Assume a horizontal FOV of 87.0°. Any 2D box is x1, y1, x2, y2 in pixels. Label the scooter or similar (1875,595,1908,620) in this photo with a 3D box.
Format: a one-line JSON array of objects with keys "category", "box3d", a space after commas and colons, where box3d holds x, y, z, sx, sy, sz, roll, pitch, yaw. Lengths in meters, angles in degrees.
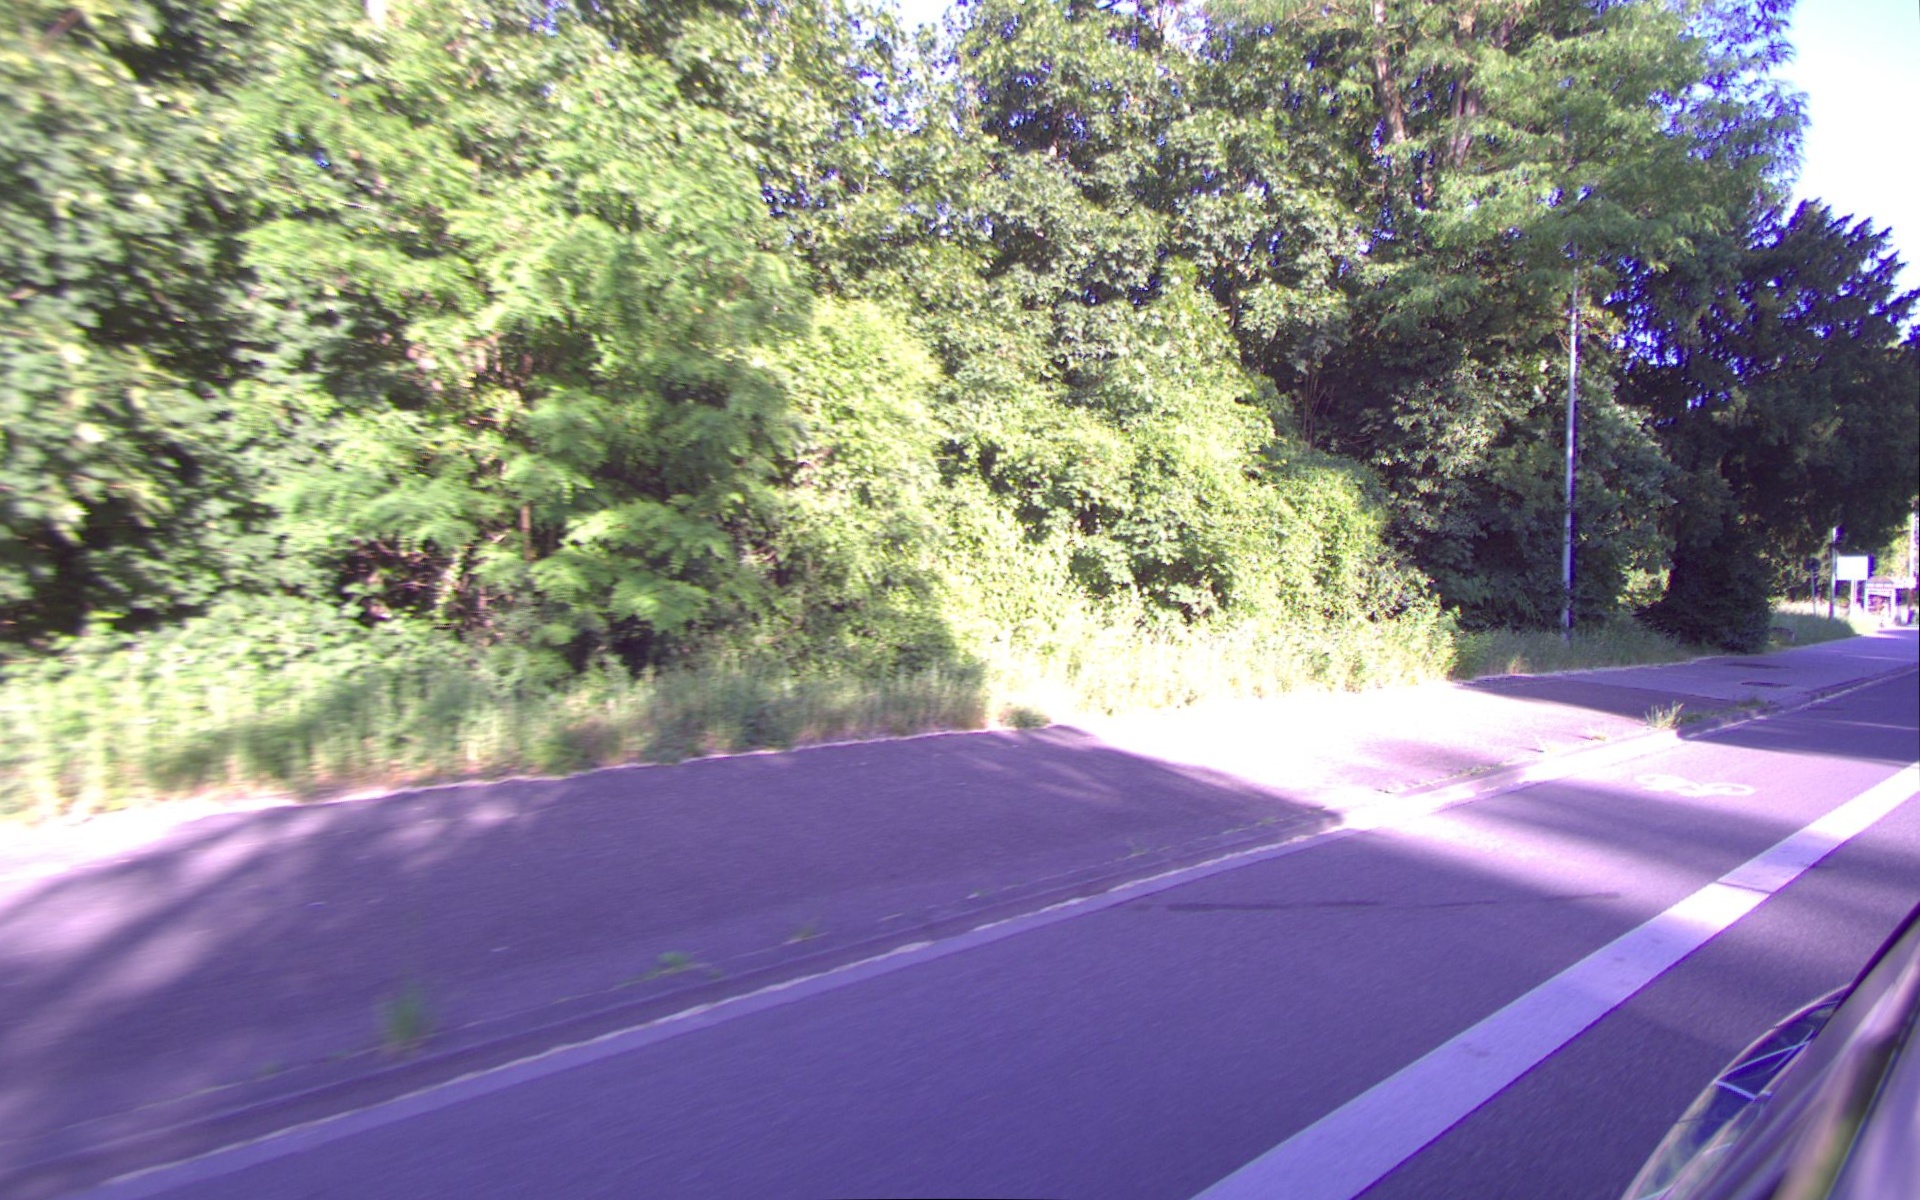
[{"category": "scooter or similar", "box3d": [50.475, 0.409, 54.842, 1.300, 1.263, 0.726, 1, 1, -17]}]
